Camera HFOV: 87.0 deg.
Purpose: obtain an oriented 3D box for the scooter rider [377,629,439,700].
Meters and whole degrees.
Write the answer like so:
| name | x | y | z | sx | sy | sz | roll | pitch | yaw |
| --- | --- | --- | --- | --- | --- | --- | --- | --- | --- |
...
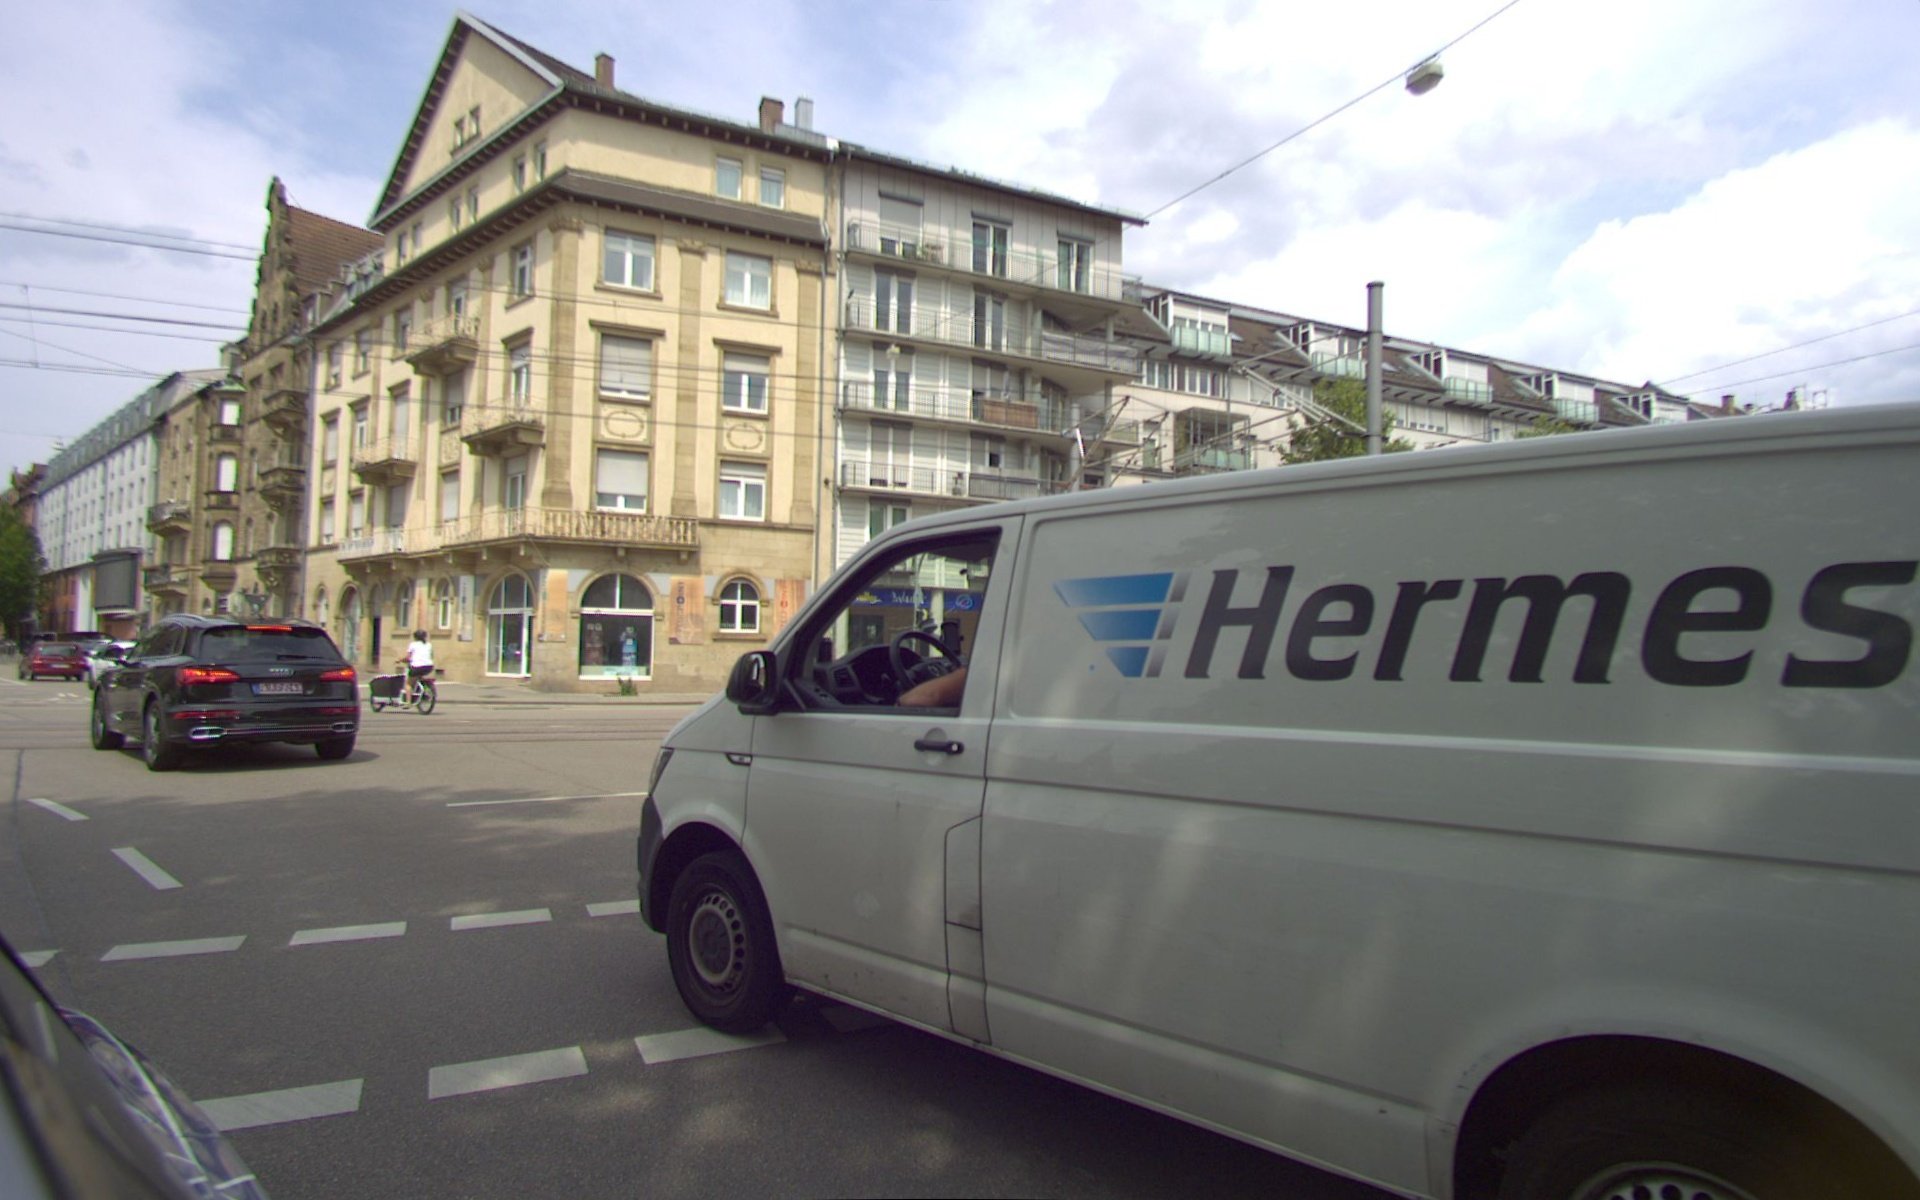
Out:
| name | x | y | z | sx | sy | sz | roll | pitch | yaw |
| --- | --- | --- | --- | --- | --- | --- | --- | --- | --- |
| scooter rider | -11.204 | 1.311 | 20.528 | 1.086 | 1.387 | 0.731 | -3 | -5 | 41 |

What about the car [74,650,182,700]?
| name | x | y | z | sx | sy | sz | roll | pitch | yaw |
| --- | --- | --- | --- | --- | --- | --- | --- | --- | --- |
| car | -25.637 | 2.273 | 31.143 | 4.237 | 1.442 | 1.717 | -3 | -5 | 39 |

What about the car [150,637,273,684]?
| name | x | y | z | sx | sy | sz | roll | pitch | yaw |
| --- | --- | --- | --- | --- | --- | --- | --- | --- | --- |
| car | -28.958 | 2.310 | 39.317 | 1.735 | 1.601 | 4.033 | -3 | -2 | 2 |

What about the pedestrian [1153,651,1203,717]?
| name | x | y | z | sx | sy | sz | roll | pitch | yaw |
| --- | --- | --- | --- | --- | --- | --- | --- | --- | --- |
| pedestrian | 5.345 | 2.042 | 24.812 | 0.824 | 1.564 | 0.870 | 2 | -4 | -26 |

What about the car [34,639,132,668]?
| name | x | y | z | sx | sy | sz | roll | pitch | yaw |
| --- | --- | --- | --- | --- | --- | --- | --- | --- | --- |
| car | -47.447 | 2.913 | 54.830 | 1.738 | 1.547 | 3.820 | 0 | -4 | 6 |

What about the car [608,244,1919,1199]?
| name | x | y | z | sx | sy | sz | roll | pitch | yaw |
| --- | --- | --- | --- | --- | --- | --- | --- | --- | --- |
| car | 1.126 | 0.506 | 3.057 | 4.944 | 1.951 | 1.904 | -2 | -4 | 41 |

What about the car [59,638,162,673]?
| name | x | y | z | sx | sy | sz | roll | pitch | yaw |
| --- | --- | --- | --- | --- | --- | --- | --- | --- | --- |
| car | -42.655 | 2.748 | 50.935 | 1.738 | 1.547 | 3.821 | -3 | -2 | 6 |

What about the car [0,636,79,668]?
| name | x | y | z | sx | sy | sz | roll | pitch | yaw |
| --- | --- | --- | --- | --- | --- | --- | --- | --- | --- |
| car | -52.499 | 2.931 | 57.245 | 1.738 | 1.698 | 3.821 | -3 | -2 | 6 |

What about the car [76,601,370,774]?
| name | x | y | z | sx | sy | sz | roll | pitch | yaw |
| --- | --- | --- | --- | --- | --- | --- | --- | --- | --- |
| car | -8.770 | 0.946 | 11.898 | 4.425 | 1.660 | 1.803 | -2 | -4 | 41 |

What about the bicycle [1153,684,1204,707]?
| name | x | y | z | sx | sy | sz | roll | pitch | yaw |
| --- | --- | --- | --- | --- | --- | --- | --- | --- | --- |
| bicycle | 7.923 | 3.455 | 36.694 | 1.760 | 0.822 | 0.654 | 2 | -4 | -25 |

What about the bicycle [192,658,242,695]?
| name | x | y | z | sx | sy | sz | roll | pitch | yaw |
| --- | --- | --- | --- | --- | --- | --- | --- | --- | --- |
| bicycle | -25.684 | 2.633 | 35.007 | 0.396 | 1.201 | 1.330 | -2 | -2 | 34 |

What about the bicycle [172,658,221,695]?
| name | x | y | z | sx | sy | sz | roll | pitch | yaw |
| --- | --- | --- | --- | --- | --- | --- | --- | --- | --- |
| bicycle | -26.536 | 2.659 | 35.189 | 0.397 | 1.201 | 1.328 | -3 | -2 | 39 |

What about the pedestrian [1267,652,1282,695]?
| name | x | y | z | sx | sy | sz | roll | pitch | yaw |
| --- | --- | --- | --- | --- | --- | --- | --- | --- | --- |
| pedestrian | 13.046 | 3.041 | 41.927 | 0.557 | 1.735 | 0.519 | -1 | -4 | 19 |

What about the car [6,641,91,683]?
| name | x | y | z | sx | sy | sz | roll | pitch | yaw |
| --- | --- | --- | --- | --- | --- | --- | --- | --- | --- |
| car | -35.123 | 2.383 | 38.959 | 3.996 | 1.535 | 1.745 | -2 | -6 | 39 |

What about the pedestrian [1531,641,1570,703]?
| name | x | y | z | sx | sy | sz | roll | pitch | yaw |
| --- | --- | --- | --- | --- | --- | --- | --- | --- | --- |
| pedestrian | 19.580 | 2.393 | 33.552 | 0.744 | 2.029 | 0.763 | 2 | -4 | -24 |

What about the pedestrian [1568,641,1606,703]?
| name | x | y | z | sx | sy | sz | roll | pitch | yaw |
| --- | --- | --- | --- | --- | --- | --- | --- | --- | --- |
| pedestrian | 21.146 | 2.424 | 34.136 | 0.744 | 2.029 | 0.763 | 2 | -4 | -24 |

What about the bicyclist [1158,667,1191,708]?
| name | x | y | z | sx | sy | sz | roll | pitch | yaw |
| --- | --- | --- | --- | --- | --- | --- | --- | --- | --- |
| bicyclist | 7.757 | 3.150 | 36.634 | 0.983 | 1.455 | 0.643 | 2 | -4 | -25 |

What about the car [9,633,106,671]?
| name | x | y | z | sx | sy | sz | roll | pitch | yaw |
| --- | --- | --- | --- | --- | --- | --- | --- | --- | --- |
| car | -50.074 | 2.866 | 56.237 | 1.738 | 1.908 | 3.821 | -3 | -2 | 6 |

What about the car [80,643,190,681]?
| name | x | y | z | sx | sy | sz | roll | pitch | yaw |
| --- | --- | --- | --- | --- | --- | --- | --- | --- | --- |
| car | -37.939 | 2.836 | 46.652 | 1.738 | 1.547 | 3.821 | -3 | -2 | 6 |

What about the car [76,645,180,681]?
| name | x | y | z | sx | sy | sz | roll | pitch | yaw |
| --- | --- | --- | --- | --- | --- | --- | --- | --- | --- |
| car | -40.505 | 3.054 | 49.383 | 1.738 | 1.547 | 3.821 | -3 | -2 | 6 |

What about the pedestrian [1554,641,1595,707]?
| name | x | y | z | sx | sy | sz | roll | pitch | yaw |
| --- | --- | --- | --- | --- | --- | --- | --- | --- | --- |
| pedestrian | 19.396 | 2.337 | 31.939 | 0.744 | 2.029 | 0.763 | 2 | -4 | -24 |

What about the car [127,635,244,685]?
| name | x | y | z | sx | sy | sz | roll | pitch | yaw |
| --- | --- | --- | --- | --- | --- | --- | --- | --- | --- |
| car | -31.330 | 2.378 | 41.080 | 1.735 | 1.833 | 3.825 | -3 | -2 | 2 |

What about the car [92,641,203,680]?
| name | x | y | z | sx | sy | sz | roll | pitch | yaw |
| --- | --- | --- | --- | --- | --- | --- | --- | --- | --- |
| car | -35.858 | 2.635 | 44.781 | 1.735 | 1.547 | 3.825 | -3 | -2 | 2 |

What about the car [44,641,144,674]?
| name | x | y | z | sx | sy | sz | roll | pitch | yaw |
| --- | --- | --- | --- | --- | --- | --- | --- | --- | --- |
| car | -45.312 | 2.971 | 53.044 | 1.738 | 1.547 | 3.821 | -3 | -2 | 6 |

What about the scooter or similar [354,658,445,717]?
| name | x | y | z | sx | sy | sz | roll | pitch | yaw |
| --- | --- | --- | --- | --- | --- | --- | --- | --- | --- |
| scooter or similar | -11.556 | 1.765 | 20.822 | 2.687 | 1.147 | 0.731 | -3 | -5 | 41 |
